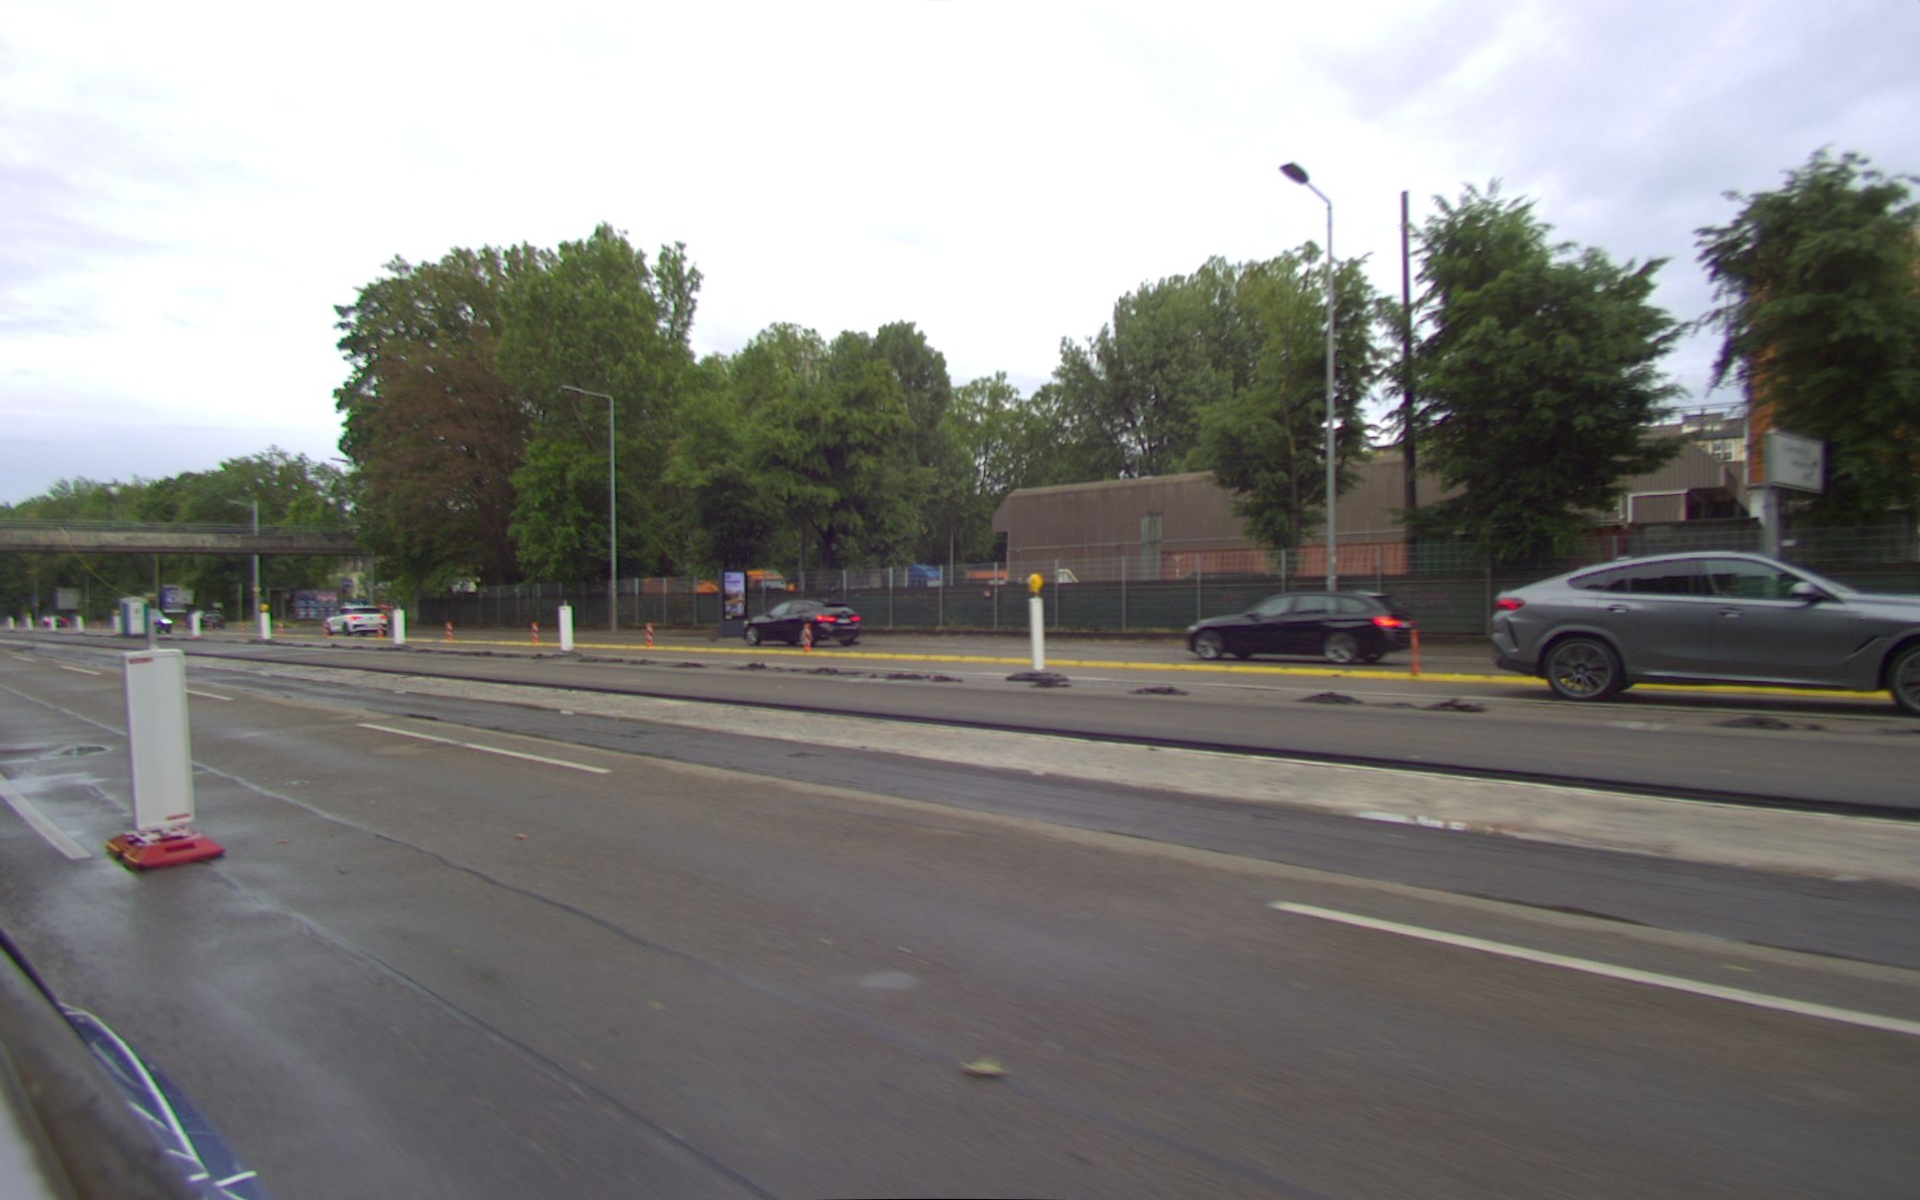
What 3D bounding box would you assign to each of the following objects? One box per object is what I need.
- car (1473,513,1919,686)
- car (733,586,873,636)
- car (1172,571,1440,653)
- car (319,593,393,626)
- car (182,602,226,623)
[{"bbox_3d":[8.678,-0.028,11.165,5.053,1.625,2.055,0,1,41],"label":"car"},{"bbox_3d":[-4.901,0.325,31.363,4.262,1.440,1.973,-1,0,40],"label":"car"},{"bbox_3d":[6.915,0.196,20.559,4.763,1.465,2.025,0,1,42],"label":"car"},{"bbox_3d":[-29.970,0.475,50.164,4.264,1.524,1.973,-1,1,42],"label":"car"},{"bbox_3d":[-59.899,0.951,80.150,4.303,1.529,1.973,0,1,42],"label":"car"}]
